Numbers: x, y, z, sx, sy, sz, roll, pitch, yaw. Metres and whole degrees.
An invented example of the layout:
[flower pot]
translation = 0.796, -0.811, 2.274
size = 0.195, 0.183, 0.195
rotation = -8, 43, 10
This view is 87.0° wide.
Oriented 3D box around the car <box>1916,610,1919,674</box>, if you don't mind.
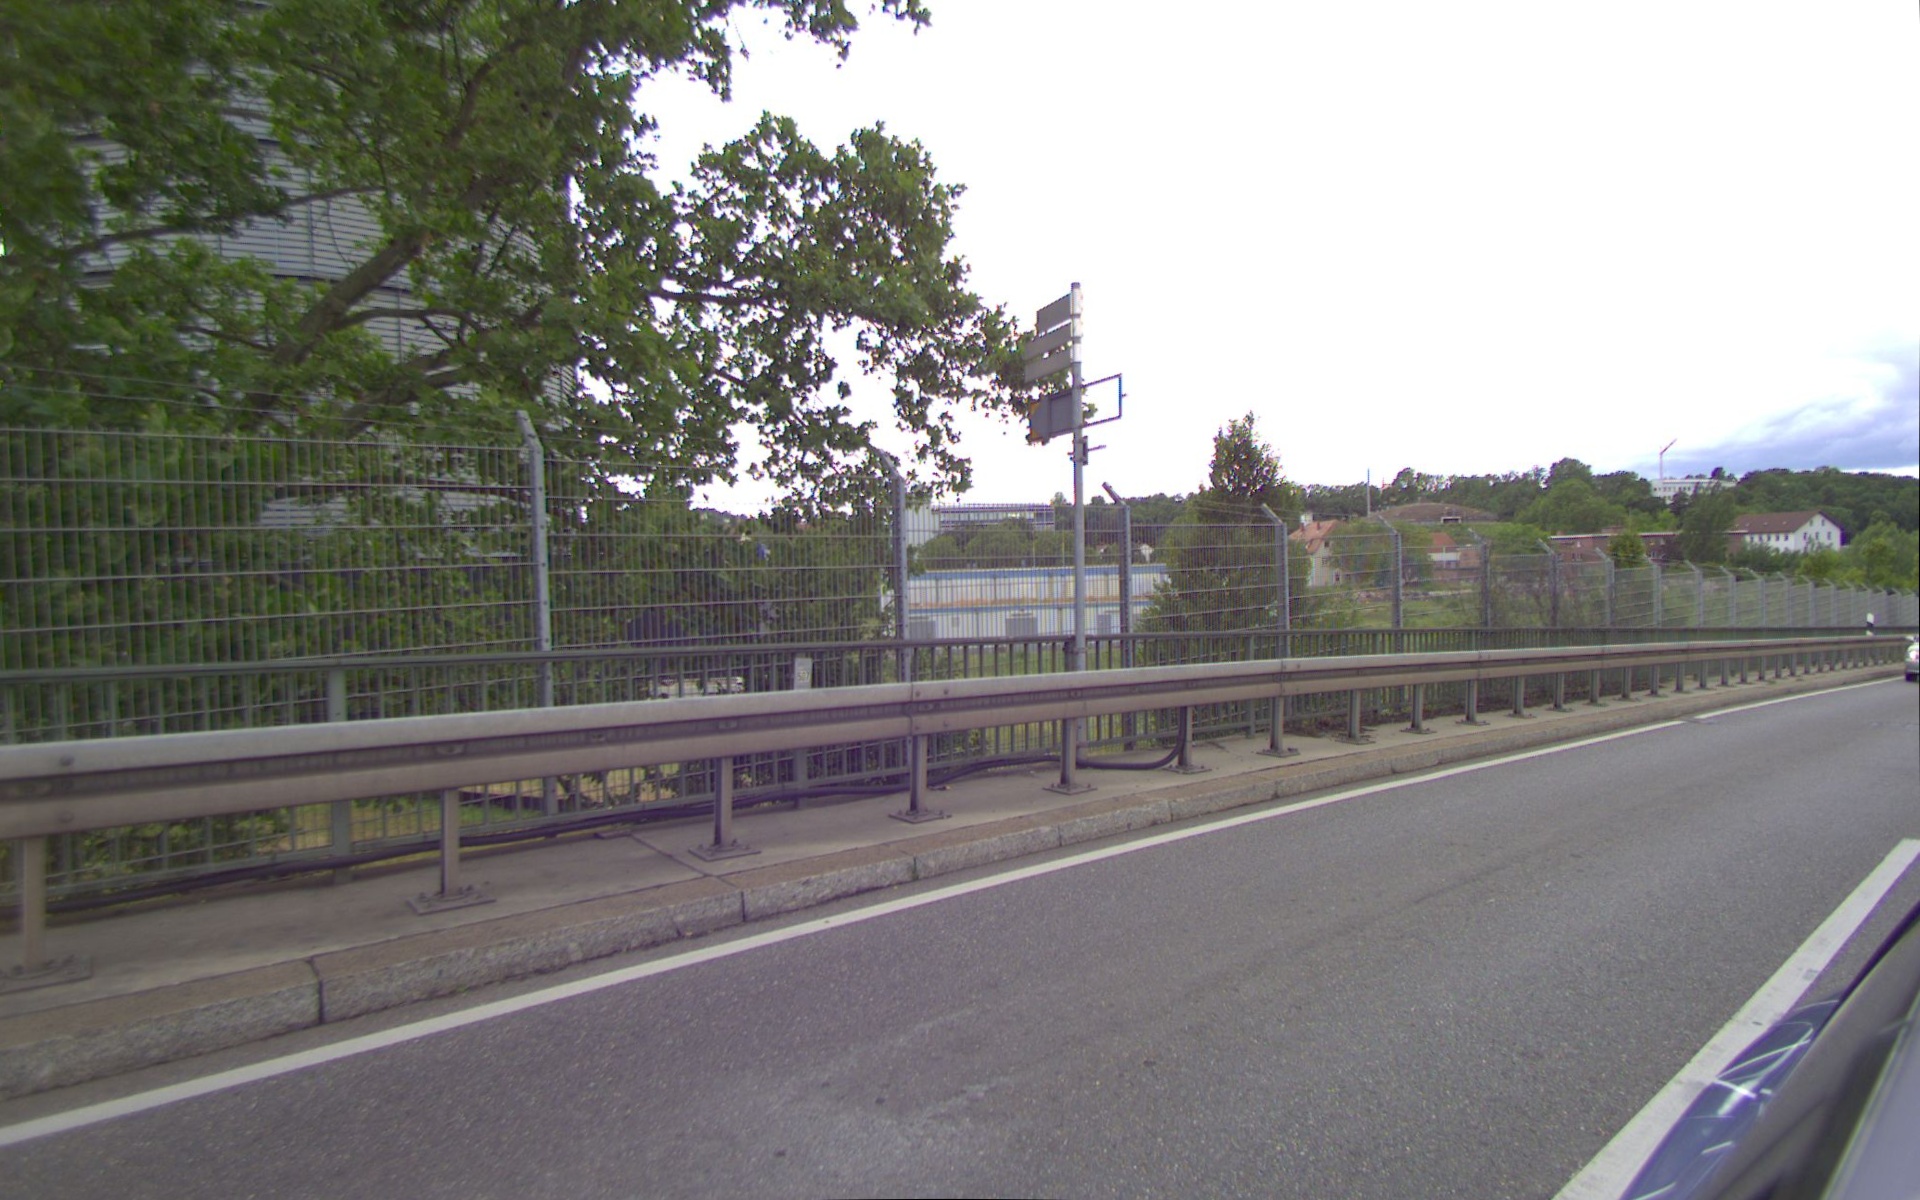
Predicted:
[car]
translation = 23.439, 0.948, 23.385
size = 3.382, 1.449, 1.588
rotation = -1, 1, -40
